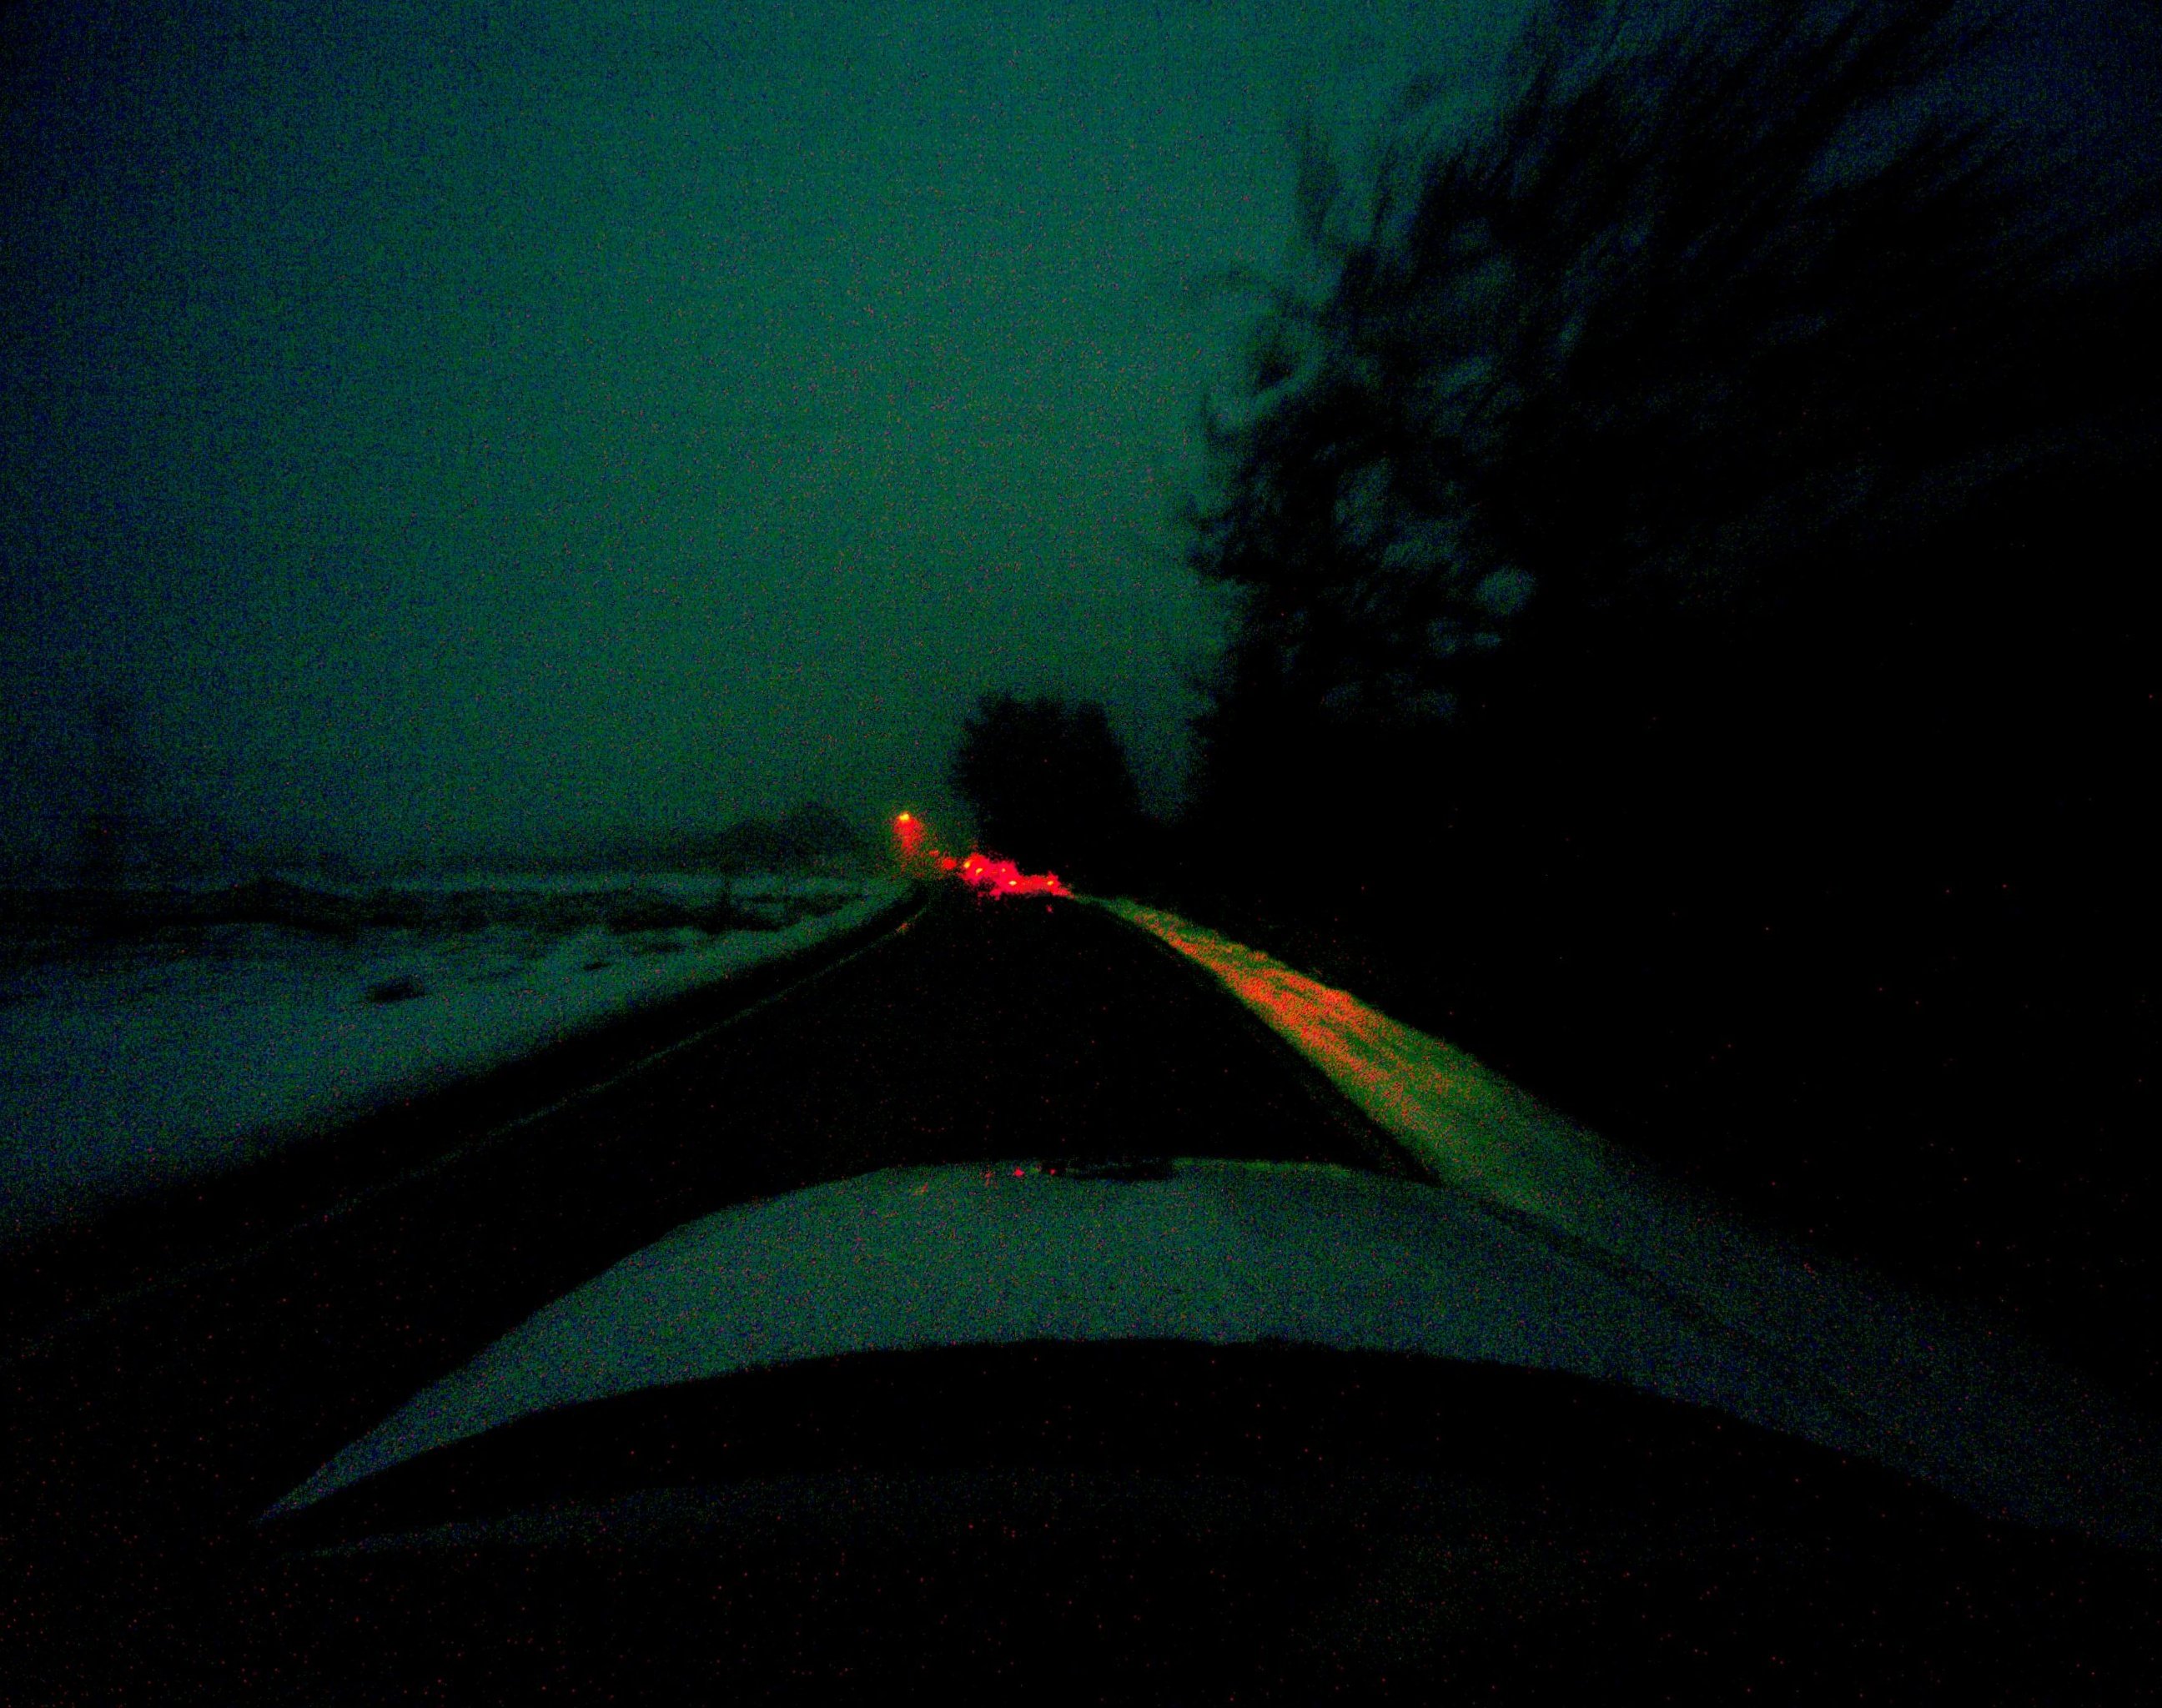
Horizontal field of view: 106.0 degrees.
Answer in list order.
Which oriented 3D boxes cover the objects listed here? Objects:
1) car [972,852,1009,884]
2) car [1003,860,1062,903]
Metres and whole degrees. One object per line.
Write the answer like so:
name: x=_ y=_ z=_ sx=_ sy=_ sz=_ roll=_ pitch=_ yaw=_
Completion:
car: x=-5.201 y=0.804 z=46.620 sx=1.992 sy=1.750 sz=3.989 roll=0 pitch=-1 yaw=-8
car: x=-1.897 y=1.009 z=30.869 sx=1.992 sy=1.508 sz=3.990 roll=0 pitch=-1 yaw=-7
